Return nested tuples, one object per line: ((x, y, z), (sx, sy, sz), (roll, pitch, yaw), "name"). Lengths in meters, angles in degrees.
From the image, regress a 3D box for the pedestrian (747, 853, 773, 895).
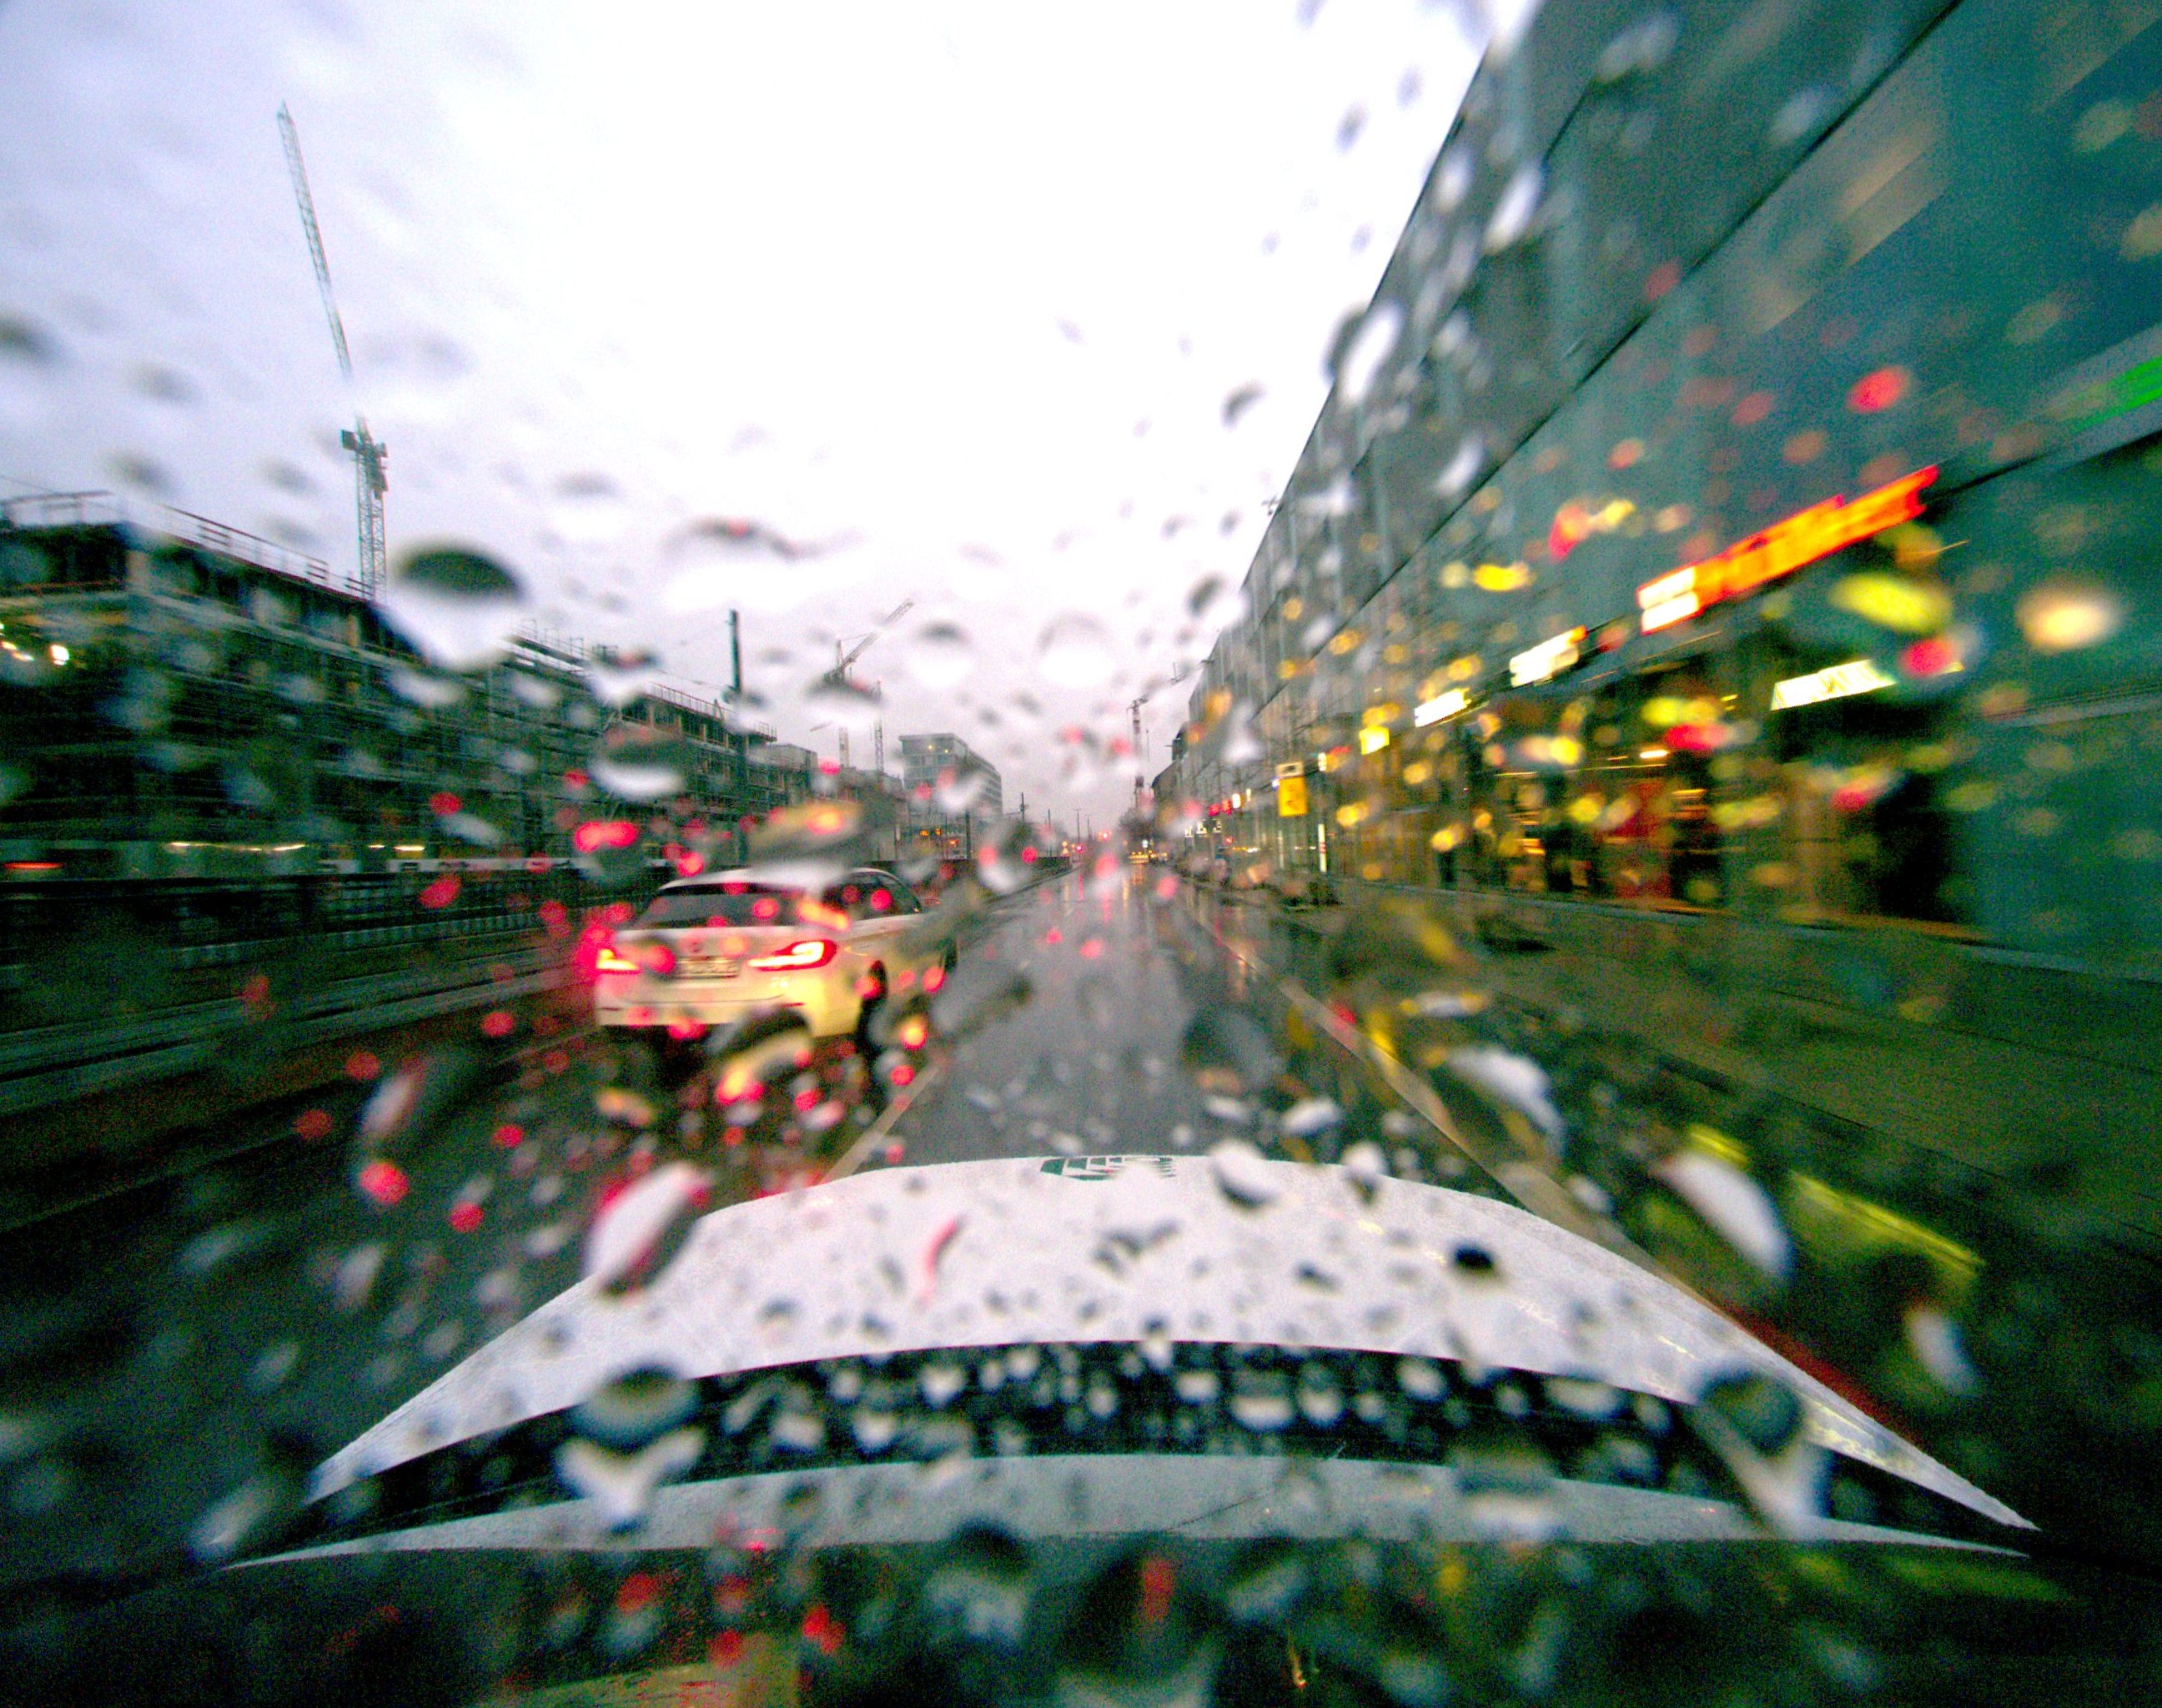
((-12.168, 0.736, 30.869), (0.580, 1.550, 0.743), (-2, 0, 13), "pedestrian")

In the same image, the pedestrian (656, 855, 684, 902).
((-13.959, 0.842, 27.657), (0.539, 1.567, 0.585), (-2, 0, 22), "pedestrian")

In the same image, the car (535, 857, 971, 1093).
((-2.469, 0.797, 7.738), (1.844, 1.465, 4.951), (-2, 0, 3), "car")

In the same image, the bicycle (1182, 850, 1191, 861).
((12.122, 0.168, 93.823), (0.680, 1.222, 1.906), (-5, -1, 1), "bicycle")

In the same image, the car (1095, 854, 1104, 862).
((4.234, 0.828, 183.178), (1.893, 1.642, 4.003), (-2, 0, 3), "car")

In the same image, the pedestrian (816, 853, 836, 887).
((-12.124, 0.749, 38.703), (0.580, 1.550, 0.743), (-2, 0, 13), "pedestrian")
